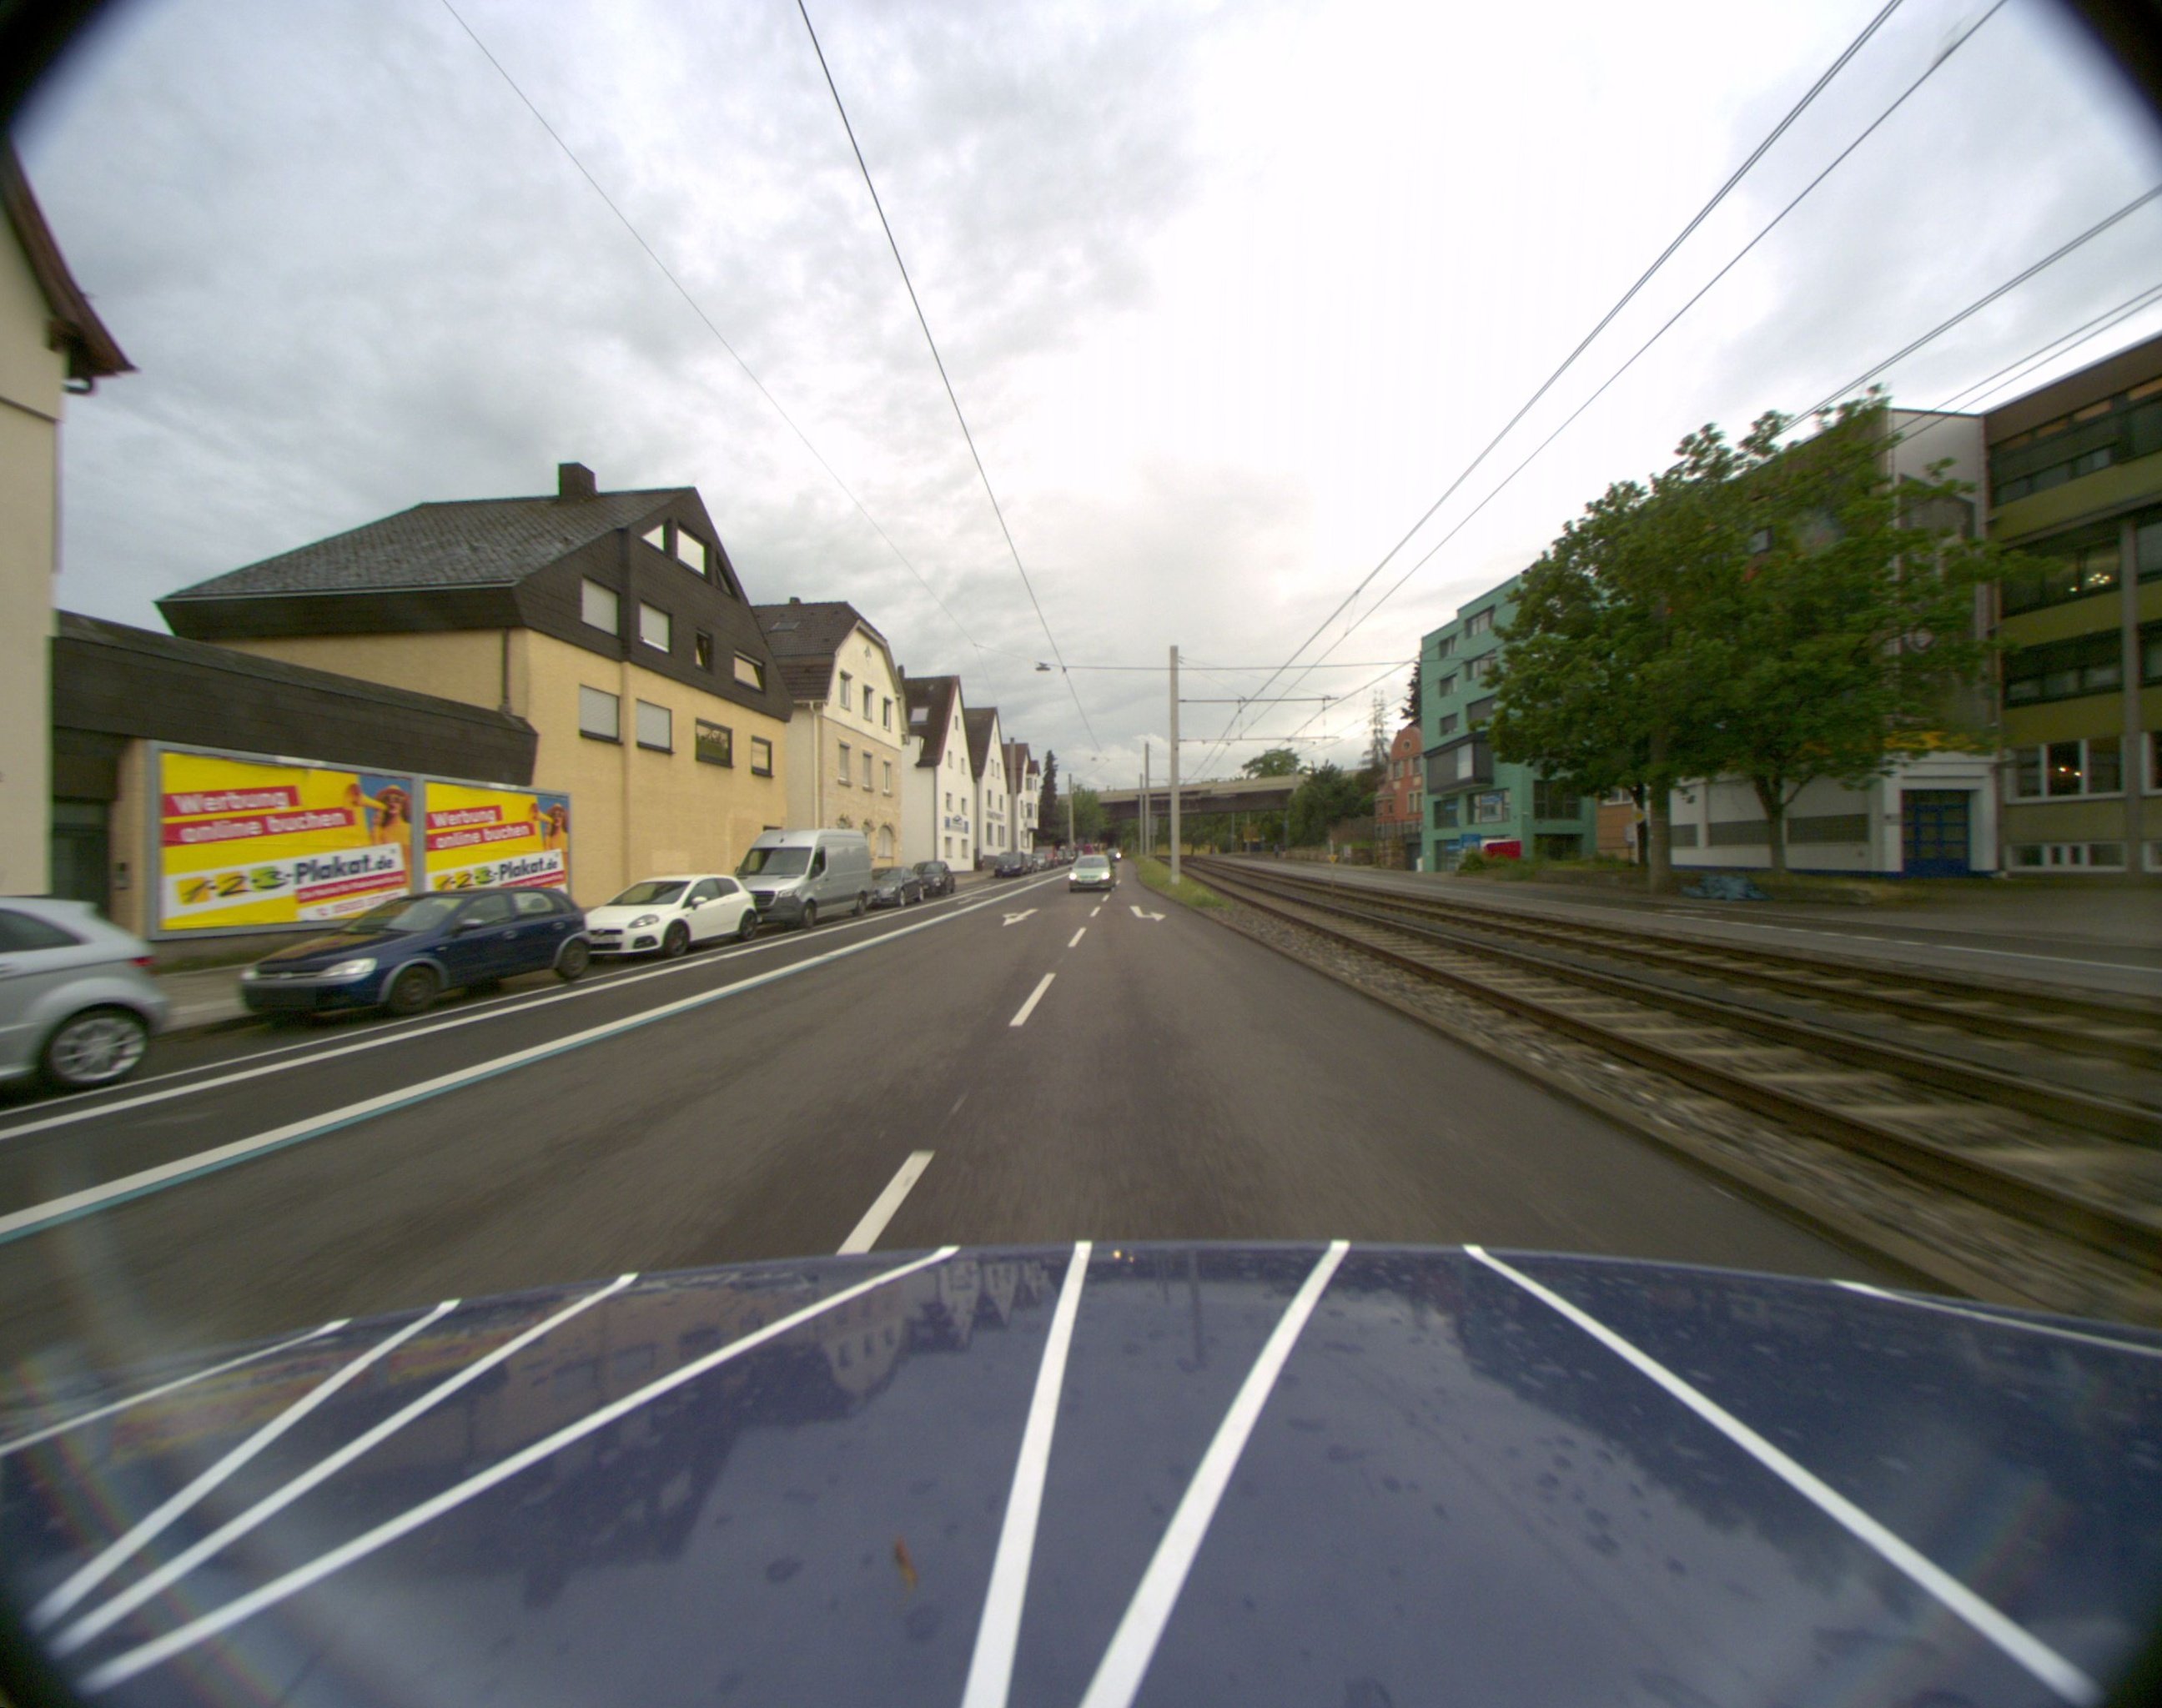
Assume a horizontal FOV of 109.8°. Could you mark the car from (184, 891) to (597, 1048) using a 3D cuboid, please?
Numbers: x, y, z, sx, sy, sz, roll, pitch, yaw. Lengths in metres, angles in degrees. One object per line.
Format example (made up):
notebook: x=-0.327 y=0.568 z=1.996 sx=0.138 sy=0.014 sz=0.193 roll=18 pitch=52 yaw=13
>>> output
car: x=-8.352 y=1.290 z=9.740 sx=1.604 sy=1.393 sz=3.793 roll=-2 pitch=0 yaw=5

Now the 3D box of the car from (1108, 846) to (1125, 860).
car: x=4.026 y=-0.118 z=86.326 sx=1.887 sy=1.416 sz=4.201 roll=-2 pitch=1 yaw=3

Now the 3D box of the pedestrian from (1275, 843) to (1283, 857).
pedestrian: x=22.925 y=-0.496 z=87.902 sx=0.746 sy=1.635 sz=1.021 roll=-1 pitch=1 yaw=4

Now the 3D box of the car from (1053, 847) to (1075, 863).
car: x=-1.721 y=0.084 z=79.671 sx=1.726 sy=1.539 sz=4.202 roll=-2 pitch=1 yaw=6

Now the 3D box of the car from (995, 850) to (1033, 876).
car: x=-4.506 y=0.575 z=51.675 sx=1.726 sy=1.539 sz=4.202 roll=-2 pitch=1 yaw=6

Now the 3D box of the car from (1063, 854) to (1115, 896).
car: x=0.385 y=0.798 z=30.709 sx=1.887 sy=1.440 sz=4.201 roll=-2 pitch=1 yaw=3

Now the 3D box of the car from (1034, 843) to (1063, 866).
car: x=-2.881 y=0.008 z=68.121 sx=1.976 sy=1.984 sz=4.435 roll=-2 pitch=1 yaw=5

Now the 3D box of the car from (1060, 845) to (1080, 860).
car: x=-1.226 y=-0.151 z=84.172 sx=1.726 sy=1.539 sz=4.202 roll=-2 pitch=1 yaw=6

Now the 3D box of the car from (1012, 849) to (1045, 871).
car: x=-3.924 y=0.425 z=57.060 sx=1.726 sy=1.539 sz=4.202 roll=-2 pitch=1 yaw=6

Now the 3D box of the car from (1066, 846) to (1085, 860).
car: x=-0.665 y=-0.182 z=89.643 sx=1.726 sy=1.539 sz=4.202 roll=-2 pitch=1 yaw=6

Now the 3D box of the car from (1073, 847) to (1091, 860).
car: x=0.162 y=-0.045 z=95.622 sx=1.726 sy=1.539 sz=4.202 roll=-2 pitch=1 yaw=6

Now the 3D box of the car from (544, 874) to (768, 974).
car: x=-7.836 y=1.210 z=14.539 sx=1.604 sy=1.456 sz=4.202 roll=-2 pitch=0 yaw=5

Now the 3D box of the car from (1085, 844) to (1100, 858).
car: x=1.719 y=-0.504 z=111.256 sx=1.726 sy=1.994 sz=4.202 roll=-2 pitch=1 yaw=6

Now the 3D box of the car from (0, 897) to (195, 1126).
car: x=-8.644 y=1.205 z=4.422 sx=1.705 sy=1.557 sz=4.283 roll=-2 pitch=1 yaw=5

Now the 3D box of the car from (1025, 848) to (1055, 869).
car: x=-3.336 y=0.350 z=62.463 sx=1.726 sy=1.539 sz=4.202 roll=-2 pitch=1 yaw=6

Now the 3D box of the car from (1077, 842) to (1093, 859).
car: x=0.574 y=-0.493 z=100.167 sx=1.726 sy=2.079 sz=4.202 roll=-2 pitch=1 yaw=6

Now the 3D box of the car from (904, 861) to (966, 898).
car: x=-6.324 y=1.074 z=33.350 sx=1.726 sy=1.338 sz=4.201 roll=-2 pitch=1 yaw=3

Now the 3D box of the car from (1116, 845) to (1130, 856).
car: x=5.936 y=-0.532 z=107.139 sx=1.887 sy=1.416 sz=4.201 roll=-2 pitch=1 yaw=3

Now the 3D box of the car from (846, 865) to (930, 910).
car: x=-6.779 y=1.137 z=27.094 sx=1.726 sy=1.338 sz=4.085 roll=-2 pitch=1 yaw=3

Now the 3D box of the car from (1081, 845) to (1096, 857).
car: x=1.098 y=-0.462 z=105.745 sx=1.726 sy=1.539 sz=4.202 roll=-2 pitch=1 yaw=6

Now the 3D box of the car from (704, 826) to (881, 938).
car: x=-7.362 y=0.602 z=20.271 sx=2.044 sy=2.484 sz=5.921 roll=-2 pitch=1 yaw=4
